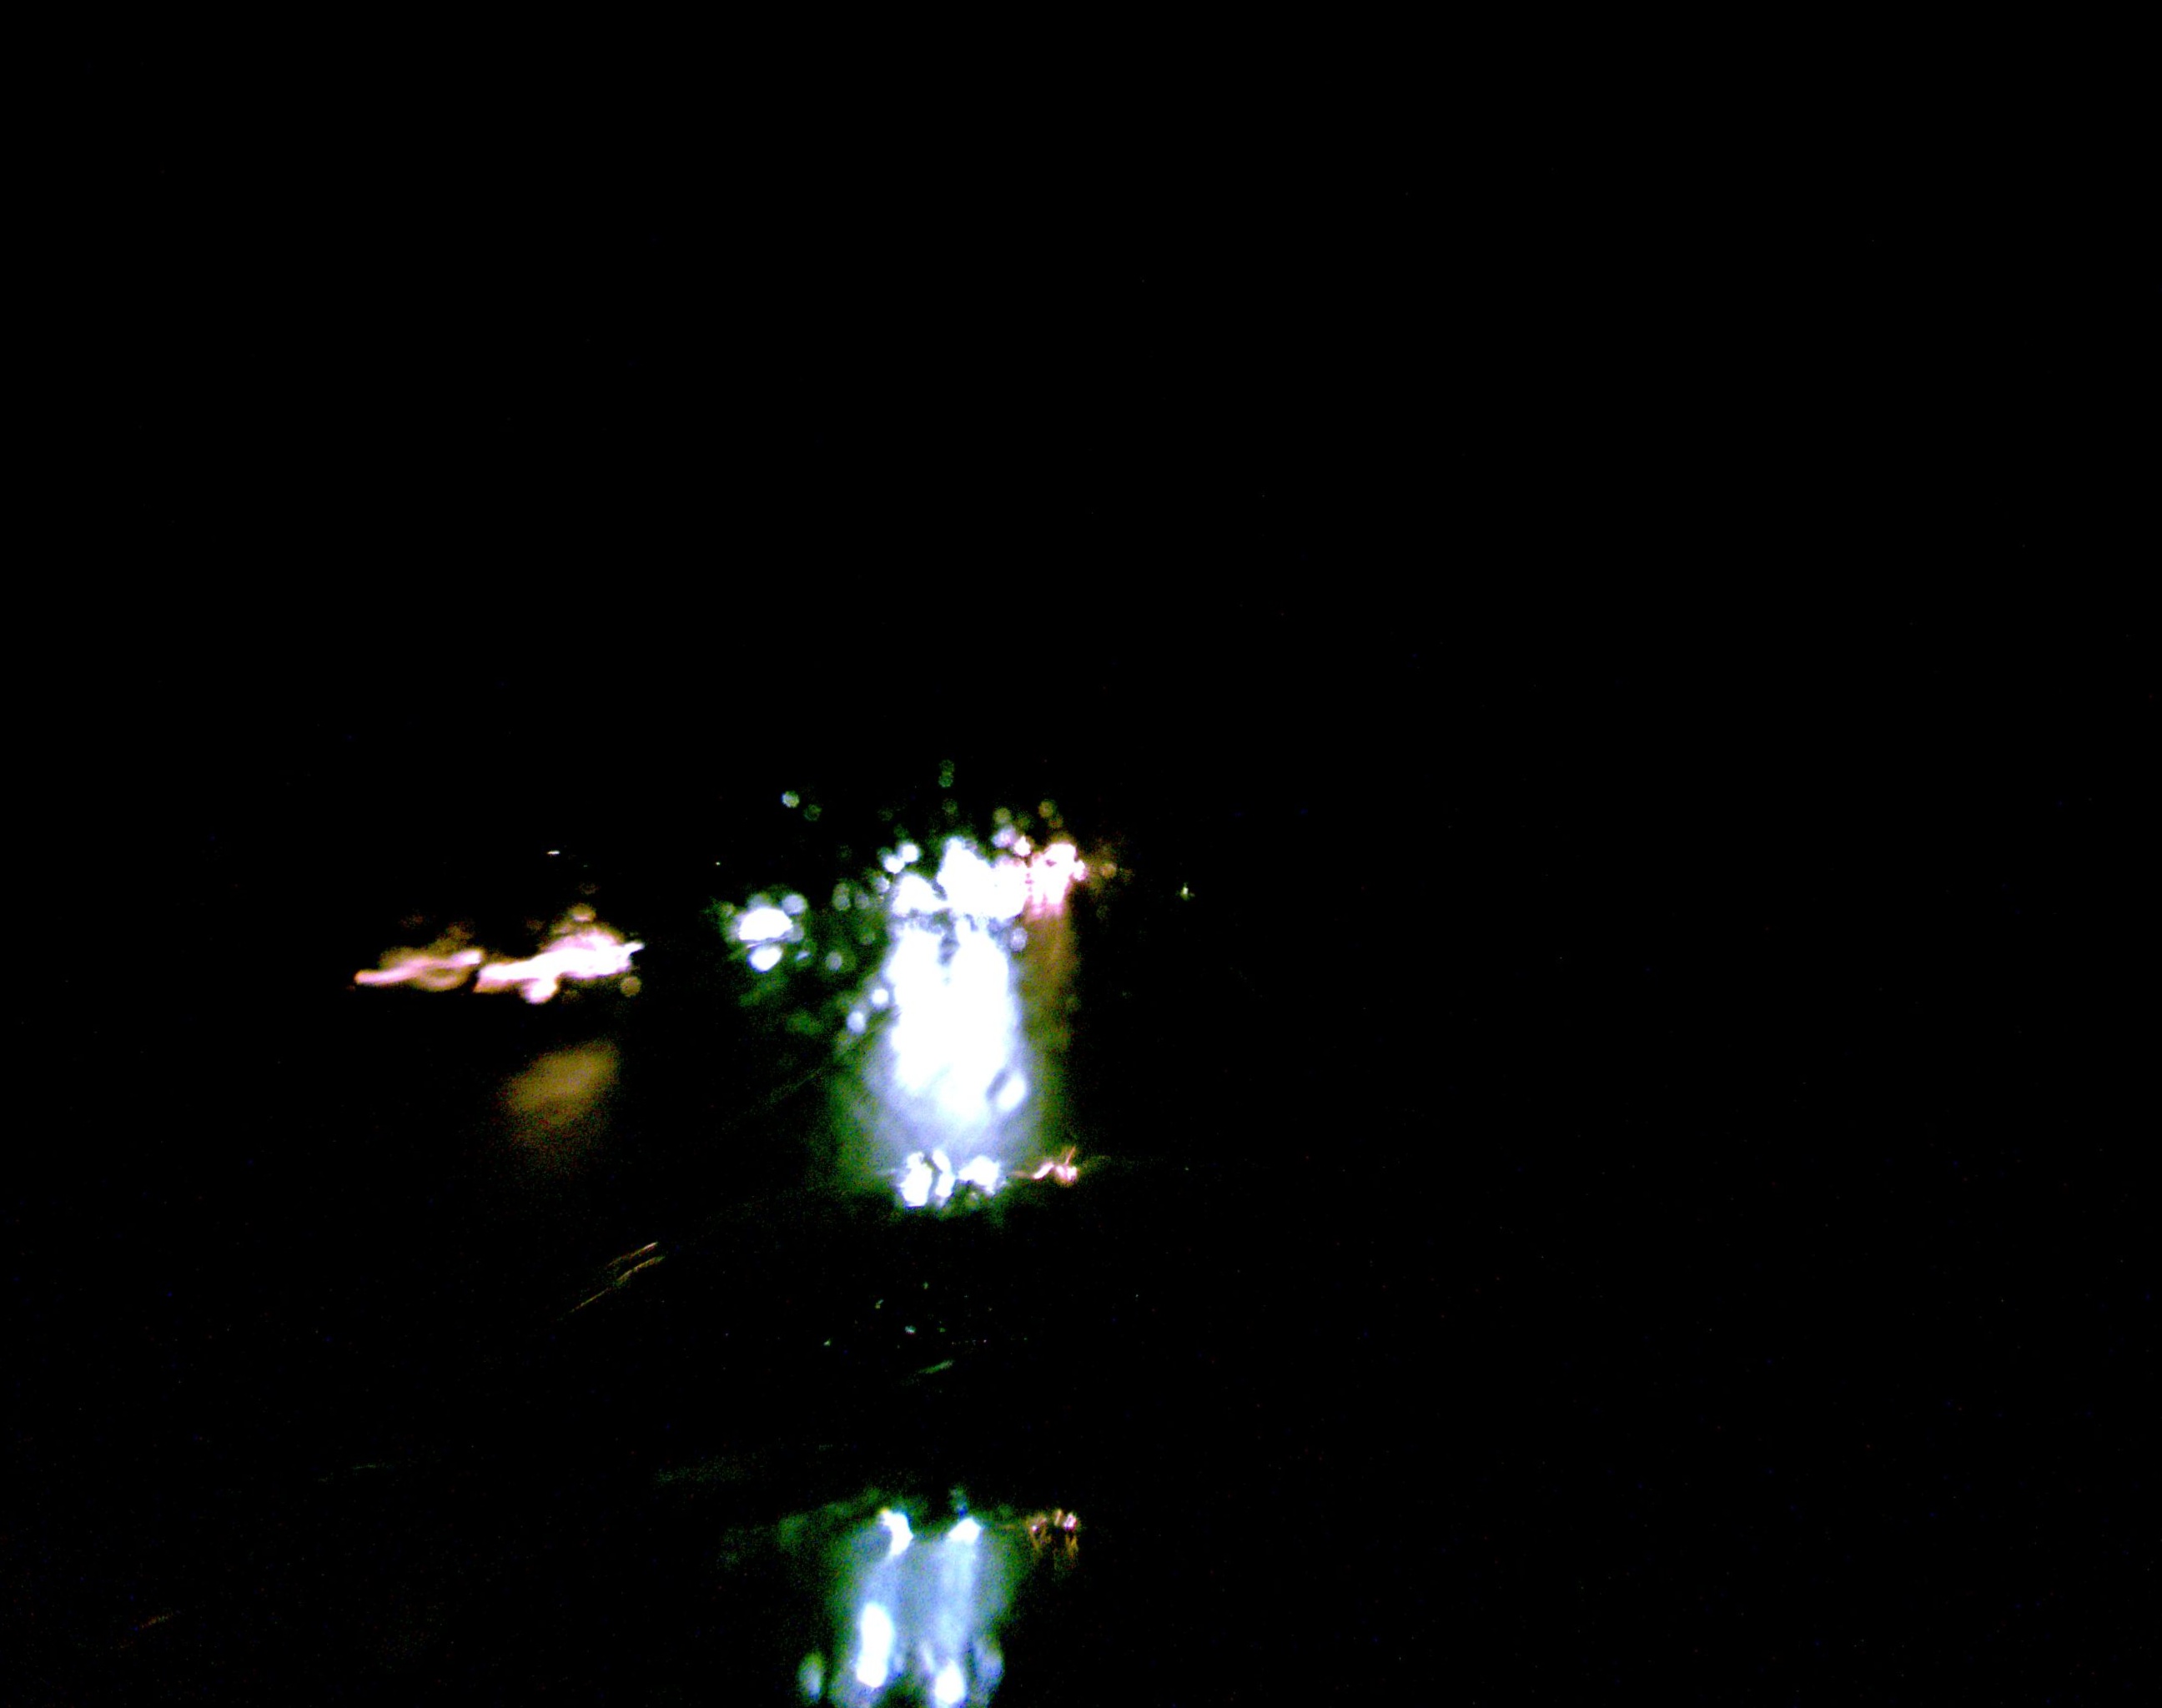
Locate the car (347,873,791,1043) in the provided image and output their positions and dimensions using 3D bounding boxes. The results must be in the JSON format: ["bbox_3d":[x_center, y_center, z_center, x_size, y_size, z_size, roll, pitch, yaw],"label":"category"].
[{"bbox_3d":[-5.366,0.974,9.529,1.794,1.383,4.780,-1,0,6],"label":"car"}]

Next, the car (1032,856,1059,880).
[{"bbox_3d":[-2.558,1.001,60.016,1.648,1.683,4.522,-1,0,2],"label":"car"}]

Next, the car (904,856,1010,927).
[{"bbox_3d":[-3.049,0.880,20.831,1.916,1.615,4.087,-1,0,2],"label":"car"}]

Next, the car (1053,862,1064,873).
[{"bbox_3d":[-3.383,1.988,122.795,1.478,1.616,3.560,2,0,1],"label":"car"}]
